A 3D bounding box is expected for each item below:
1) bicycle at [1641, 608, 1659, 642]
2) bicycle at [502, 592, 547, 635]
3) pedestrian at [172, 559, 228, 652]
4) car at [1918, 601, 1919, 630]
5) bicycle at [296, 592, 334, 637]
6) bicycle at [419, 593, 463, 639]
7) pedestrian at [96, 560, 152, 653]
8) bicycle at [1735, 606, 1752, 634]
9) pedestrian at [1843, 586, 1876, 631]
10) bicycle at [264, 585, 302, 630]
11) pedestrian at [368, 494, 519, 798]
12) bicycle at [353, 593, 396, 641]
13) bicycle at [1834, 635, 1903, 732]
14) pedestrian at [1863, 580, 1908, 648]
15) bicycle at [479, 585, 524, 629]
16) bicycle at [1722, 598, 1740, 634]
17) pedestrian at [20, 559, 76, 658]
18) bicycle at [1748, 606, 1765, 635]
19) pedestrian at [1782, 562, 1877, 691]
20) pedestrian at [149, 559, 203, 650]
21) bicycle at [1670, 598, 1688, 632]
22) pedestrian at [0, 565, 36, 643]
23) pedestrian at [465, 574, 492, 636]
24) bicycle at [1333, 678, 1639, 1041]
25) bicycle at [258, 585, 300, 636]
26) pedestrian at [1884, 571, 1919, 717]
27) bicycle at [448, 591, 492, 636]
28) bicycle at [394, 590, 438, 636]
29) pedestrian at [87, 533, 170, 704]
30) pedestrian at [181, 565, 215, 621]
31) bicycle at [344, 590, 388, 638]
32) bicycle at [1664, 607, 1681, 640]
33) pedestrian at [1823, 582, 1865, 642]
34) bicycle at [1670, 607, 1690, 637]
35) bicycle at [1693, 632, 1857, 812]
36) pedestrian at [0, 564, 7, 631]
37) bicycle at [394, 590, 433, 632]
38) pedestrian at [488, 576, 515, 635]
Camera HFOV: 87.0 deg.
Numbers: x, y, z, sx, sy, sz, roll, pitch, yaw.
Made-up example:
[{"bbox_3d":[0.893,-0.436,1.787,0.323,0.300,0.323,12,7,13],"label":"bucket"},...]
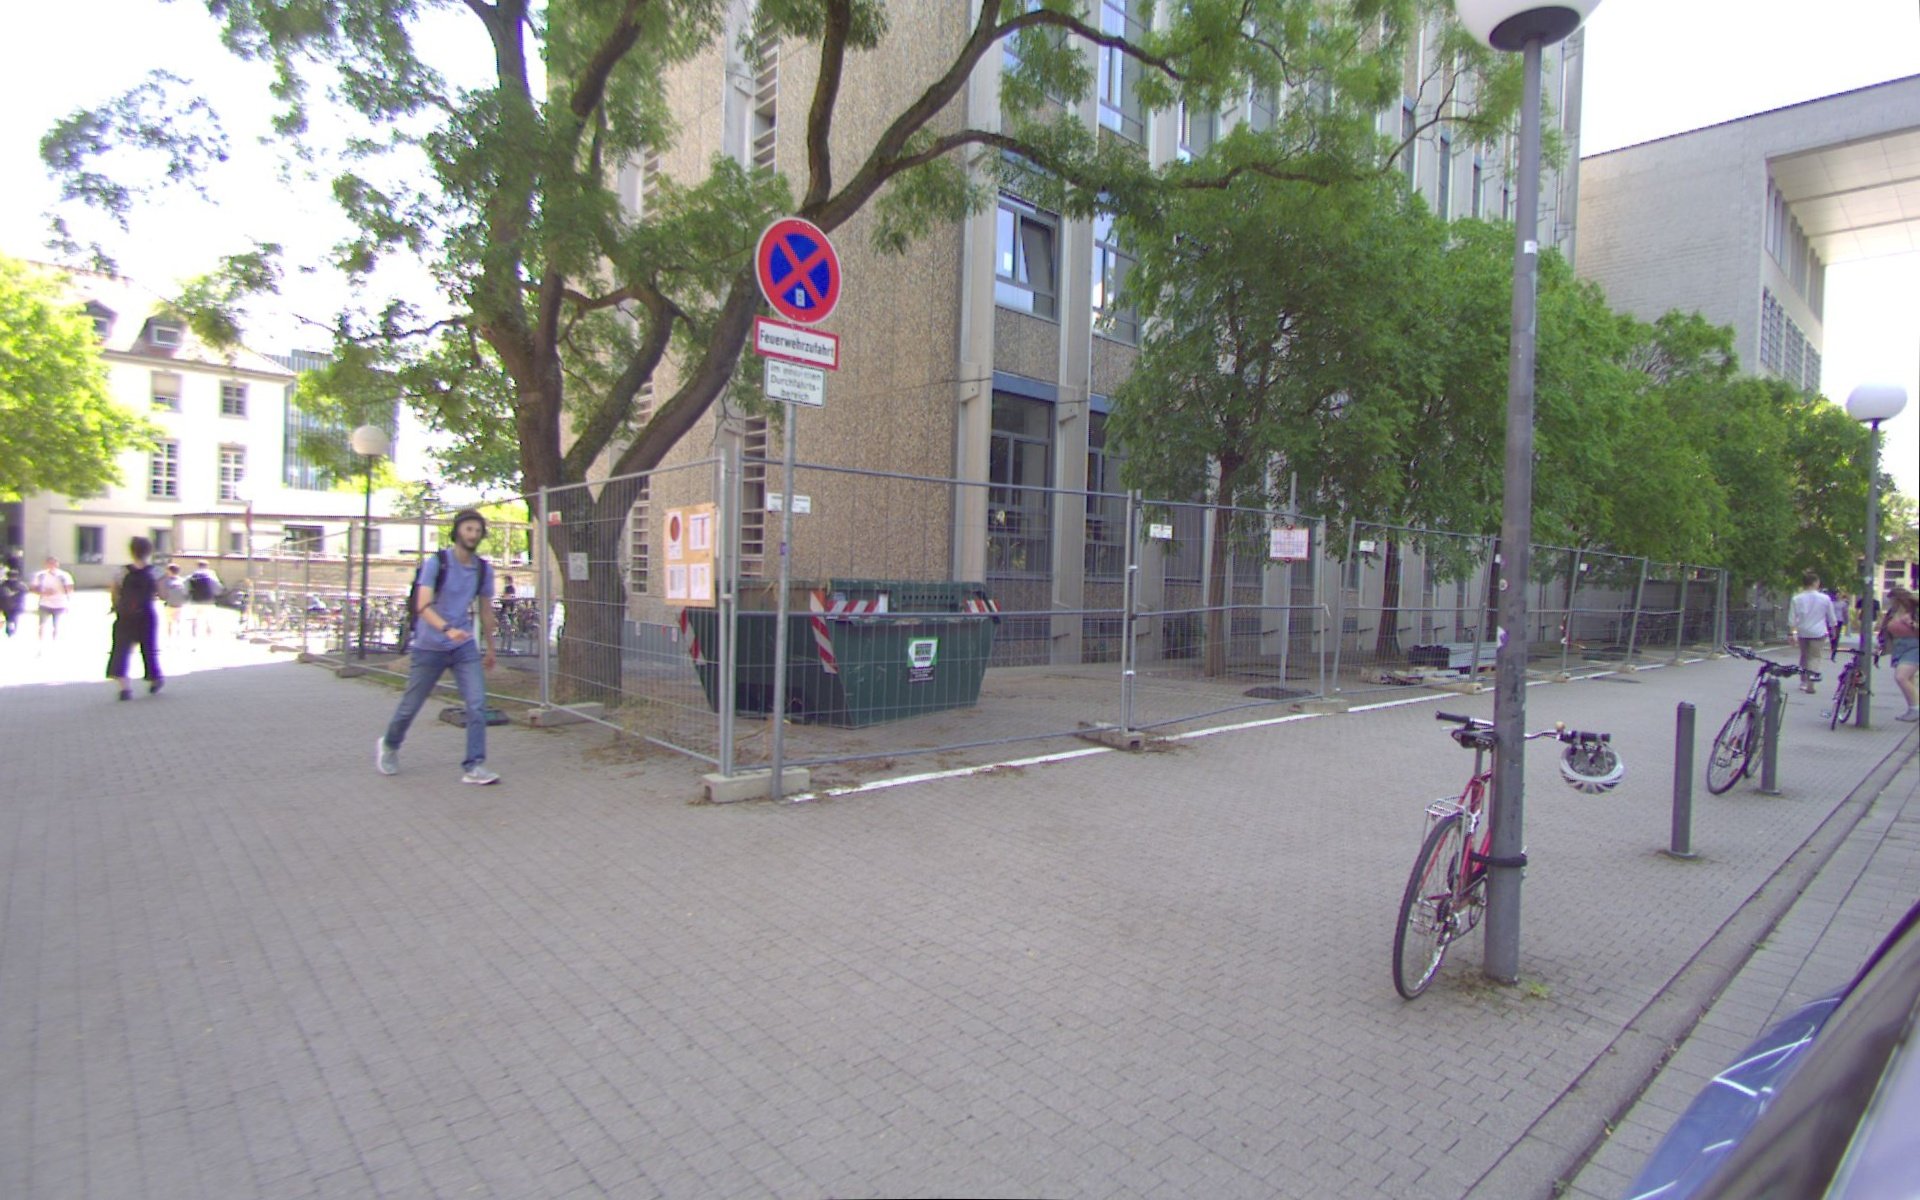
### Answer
[{"bbox_3d":[19.336,0.695,28.339,0.290,0.917,1.596,2,1,39],"label":"bicycle"},{"bbox_3d":[-12.293,0.367,28.525,0.536,1.184,1.998,1,-1,-43],"label":"bicycle"},{"bbox_3d":[-14.780,0.093,19.683,0.902,1.749,0.674,1,3,43],"label":"pedestrian"},{"bbox_3d":[52.509,0.888,52.664,1.625,1.494,3.772,-2,3,-42],"label":"car"},{"bbox_3d":[-17.738,0.385,27.807,0.536,1.184,1.998,1,-1,-43],"label":"bicycle"},{"bbox_3d":[-13.879,0.422,27.025,0.536,1.184,1.998,1,-1,-43],"label":"bicycle"},{"bbox_3d":[-16.249,0.100,19.666,0.902,1.749,0.674,1,3,43],"label":"pedestrian"},{"bbox_3d":[26.141,0.656,33.745,0.290,0.917,1.425,2,1,43],"label":"bicycle"},{"bbox_3d":[36.984,0.329,41.603,0.955,1.837,0.759,0,0,38],"label":"pedestrian"},{"bbox_3d":[-18.250,0.199,27.268,0.536,1.184,1.998,1,-1,-43],"label":"bicycle"},{"bbox_3d":[-3.183,0.242,6.199,0.690,1.672,1.048,0,1,-35],"label":"pedestrian"},{"bbox_3d":[-14.982,0.432,25.867,0.536,1.184,1.998,1,-1,-43],"label":"bicycle"},{"bbox_3d":[10.240,0.905,11.387,1.703,0.947,0.396,0,3,-43],"label":"bicycle"},{"bbox_3d":[25.627,0.375,28.041,0.697,1.826,0.873,2,0,29],"label":"pedestrian"},{"bbox_3d":[-12.709,0.184,28.036,0.536,1.184,1.998,1,-1,-43],"label":"bicycle"},{"bbox_3d":[24.997,0.518,32.820,0.290,1.142,1.425,2,1,43],"label":"bicycle"},{"bbox_3d":[-16.704,0.125,18.533,0.902,1.749,0.674,2,3,45],"label":"pedestrian"},{"bbox_3d":[26.277,0.668,33.392,0.290,0.917,1.425,2,1,43],"label":"bicycle"},{"bbox_3d":[13.193,0.384,15.387,0.777,1.868,1.109,0,0,23],"label":"pedestrian"},{"bbox_3d":[-15.711,0.069,20.277,0.902,1.749,0.674,1,3,43],"label":"pedestrian"},{"bbox_3d":[24.026,0.494,33.810,0.290,1.113,1.425,2,1,43],"label":"bicycle"},{"bbox_3d":[-21.782,0.073,23.261,0.902,1.749,0.674,1,3,43],"label":"pedestrian"},{"bbox_3d":[-13.039,0.126,27.396,0.524,1.651,0.562,0,0,-41],"label":"pedestrian"},{"bbox_3d":[2.063,0.855,3.850,1.711,0.973,0.451,0,3,-43],"label":"bicycle"},{"bbox_3d":[-16.430,0.239,24.403,0.536,1.184,1.998,1,-1,-43],"label":"bicycle"},{"bbox_3d":[11.731,0.523,12.306,0.719,1.746,0.684,0,-1,-44],"label":"pedestrian"},{"bbox_3d":[-13.291,0.368,27.430,0.536,1.184,1.998,1,-1,-43],"label":"bicycle"},{"bbox_3d":[-14.309,0.339,26.596,0.536,1.184,1.998,1,-1,-43],"label":"bicycle"},{"bbox_3d":[-8.510,0.171,10.381,0.577,1.672,0.855,0,1,-35],"label":"pedestrian"},{"bbox_3d":[-24.519,-0.250,32.560,0.902,1.749,0.674,1,3,43],"label":"pedestrian"},{"bbox_3d":[-15.129,0.343,25.757,0.536,1.184,1.998,1,-1,-43],"label":"bicycle"},{"bbox_3d":[20.921,0.671,29.716,0.290,0.917,1.780,2,1,39],"label":"bicycle"},{"bbox_3d":[25.201,0.331,28.870,0.697,1.676,0.873,2,0,29],"label":"pedestrian"},{"bbox_3d":[22.733,0.699,31.943,0.290,0.917,1.425,2,1,43],"label":"bicycle"},{"bbox_3d":[6.023,0.820,7.443,1.719,1.106,0.709,0,1,-43],"label":"bicycle"},{"bbox_3d":[-25.654,-0.052,26.577,0.899,1.749,0.676,1,3,35],"label":"pedestrian"},{"bbox_3d":[-16.109,0.315,29.809,0.536,1.184,1.998,1,-1,-43],"label":"bicycle"},{"bbox_3d":[-12.822,0.151,28.283,0.553,1.633,0.532,0,0,-41],"label":"pedestrian"}]
